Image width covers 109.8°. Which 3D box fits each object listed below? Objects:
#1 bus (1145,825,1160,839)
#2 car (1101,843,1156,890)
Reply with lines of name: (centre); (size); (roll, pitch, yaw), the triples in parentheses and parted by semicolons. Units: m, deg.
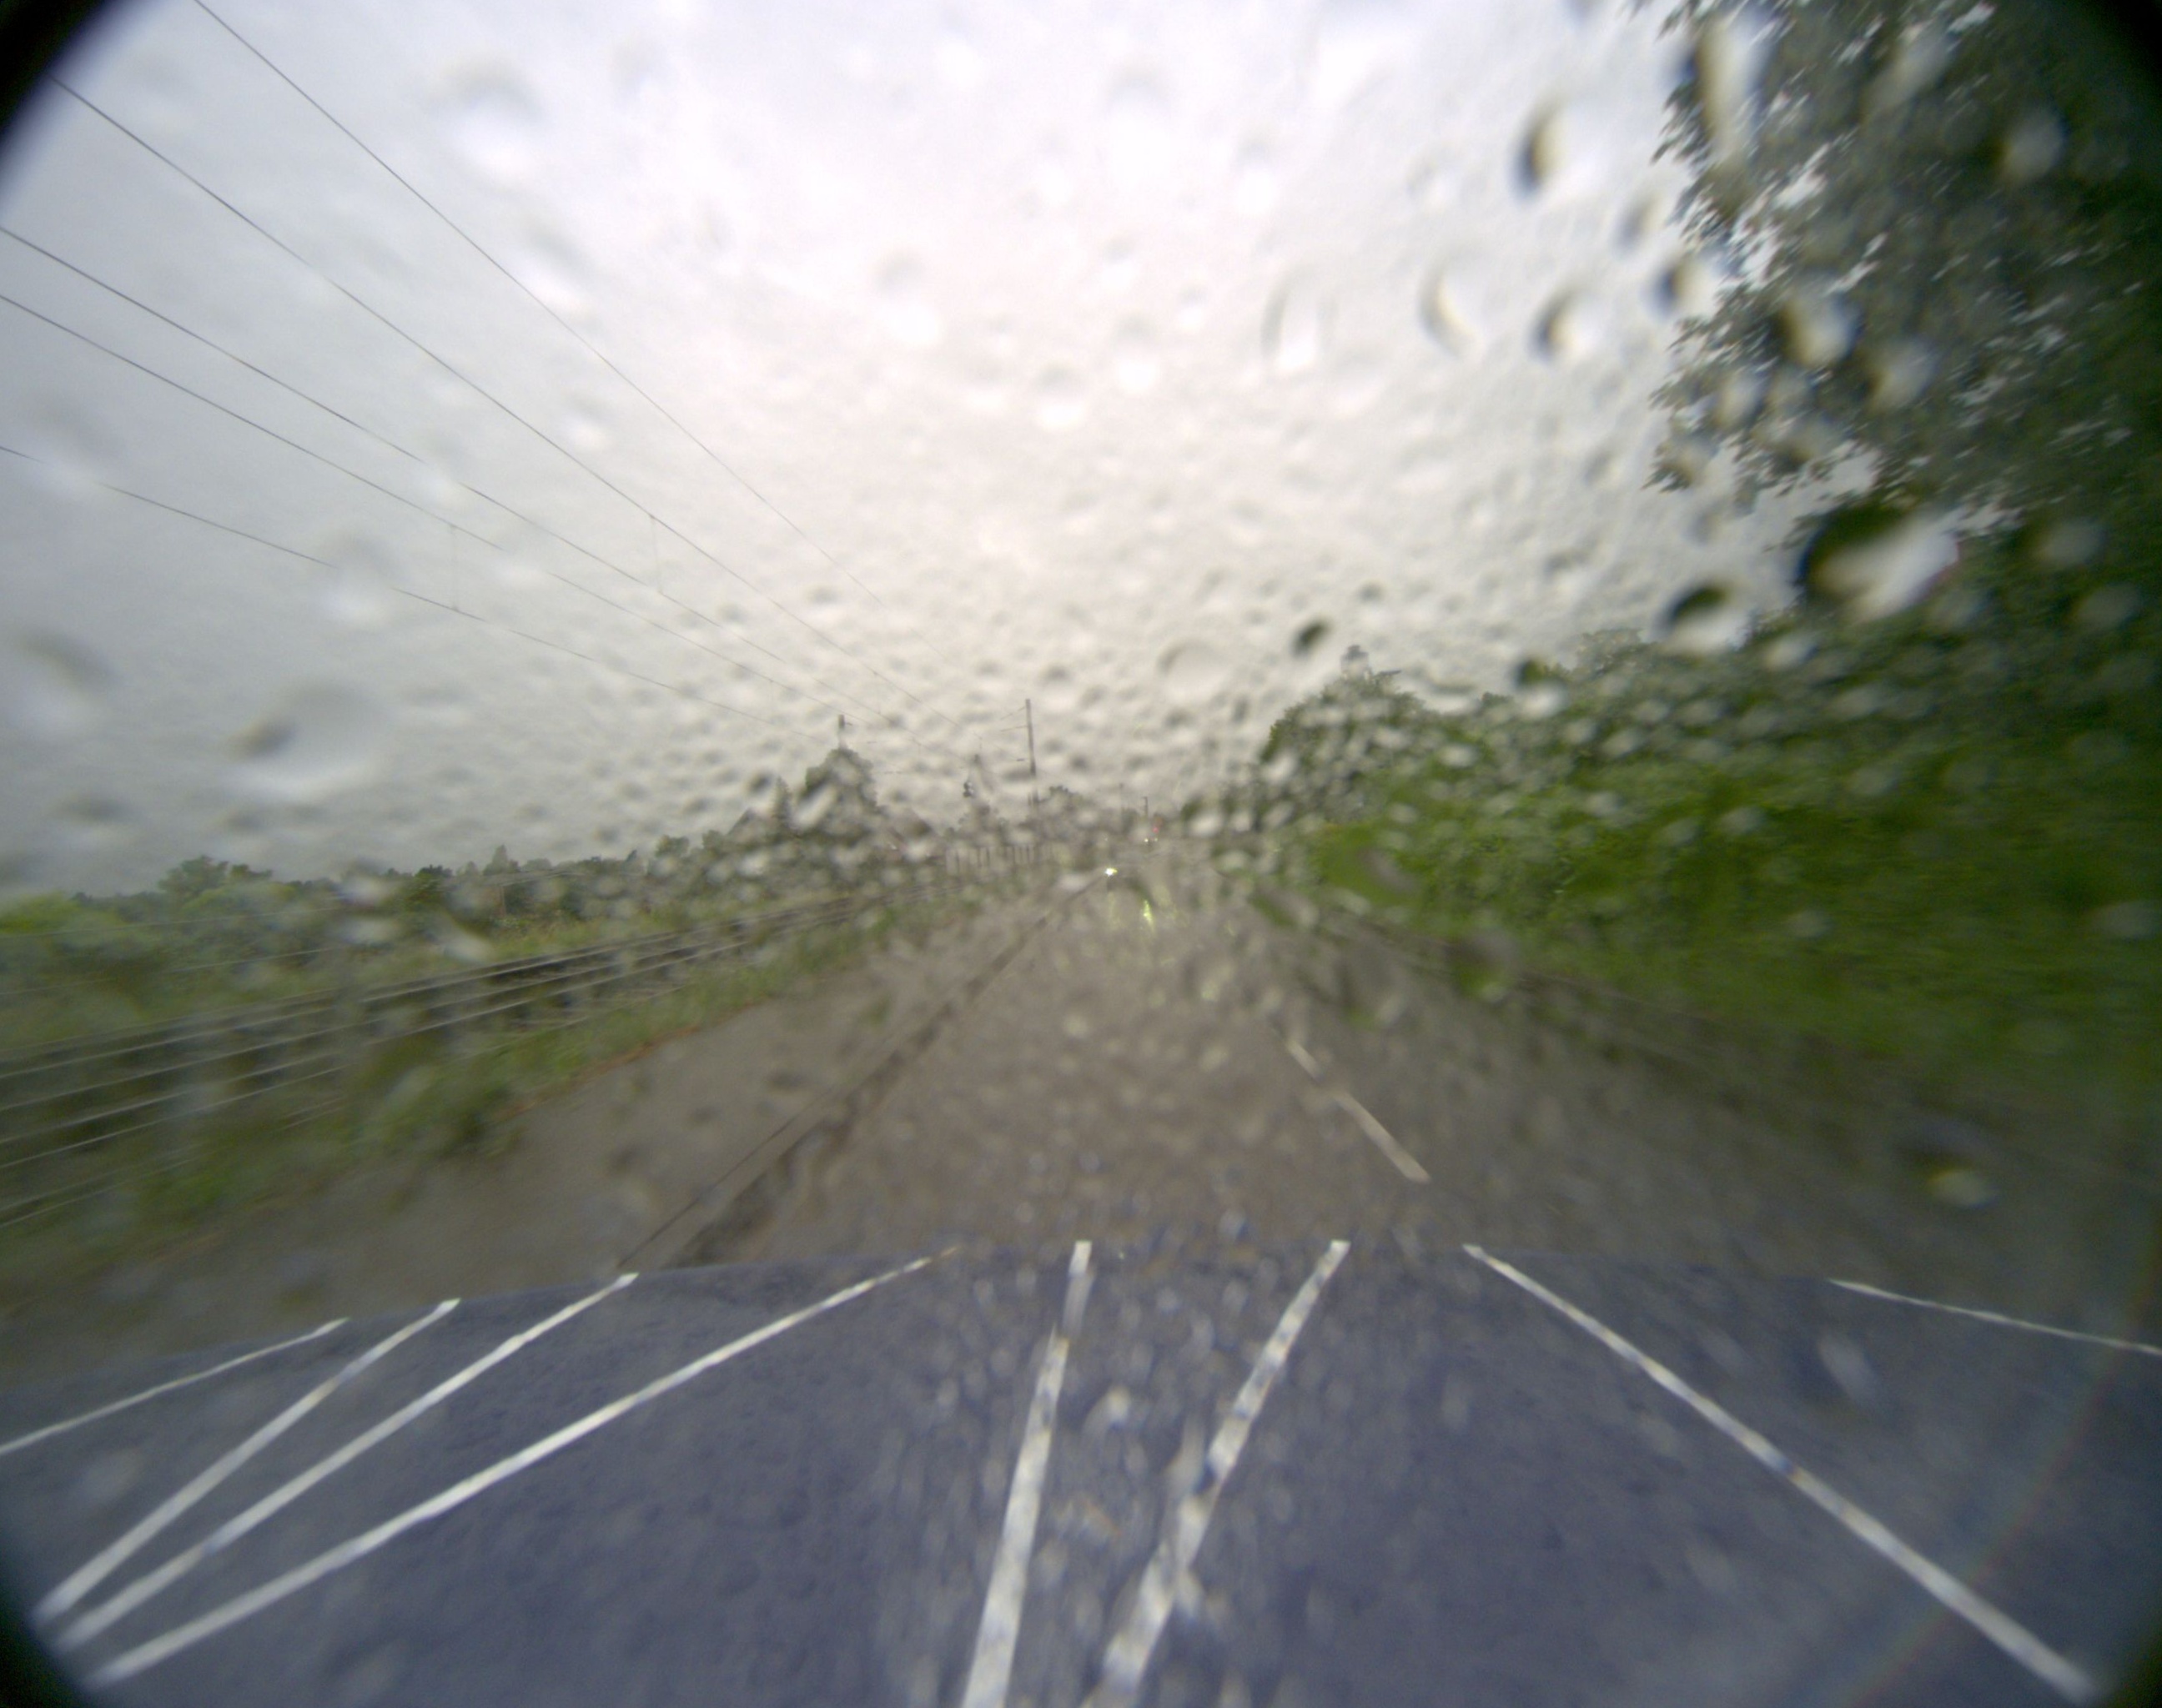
bus: (16.602, -5.123, 177.174); (2.676, 3.060, 9.991); (-5, 2, 1)
car: (2.107, 0.472, 32.341); (1.998, 1.623, 4.000); (-5, 2, 7)
